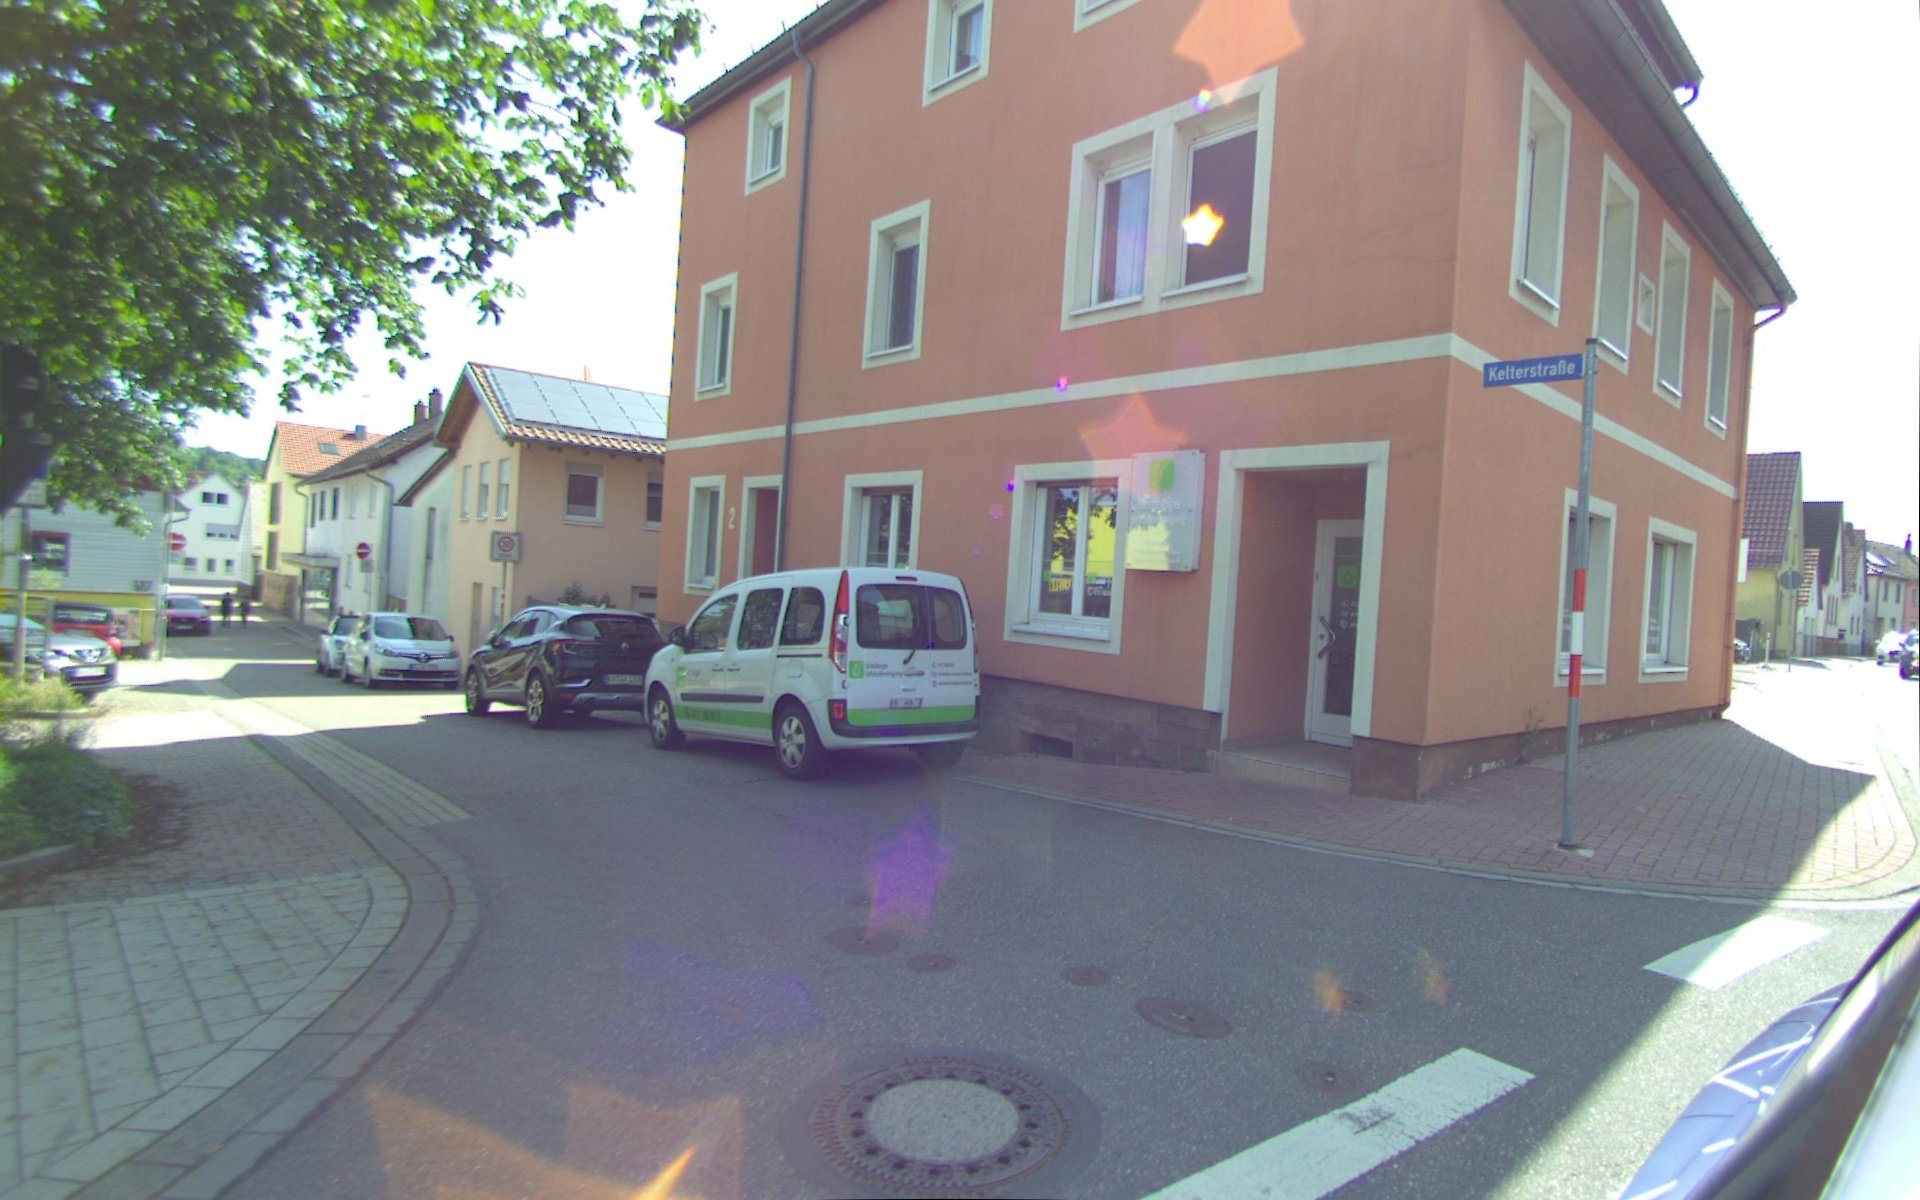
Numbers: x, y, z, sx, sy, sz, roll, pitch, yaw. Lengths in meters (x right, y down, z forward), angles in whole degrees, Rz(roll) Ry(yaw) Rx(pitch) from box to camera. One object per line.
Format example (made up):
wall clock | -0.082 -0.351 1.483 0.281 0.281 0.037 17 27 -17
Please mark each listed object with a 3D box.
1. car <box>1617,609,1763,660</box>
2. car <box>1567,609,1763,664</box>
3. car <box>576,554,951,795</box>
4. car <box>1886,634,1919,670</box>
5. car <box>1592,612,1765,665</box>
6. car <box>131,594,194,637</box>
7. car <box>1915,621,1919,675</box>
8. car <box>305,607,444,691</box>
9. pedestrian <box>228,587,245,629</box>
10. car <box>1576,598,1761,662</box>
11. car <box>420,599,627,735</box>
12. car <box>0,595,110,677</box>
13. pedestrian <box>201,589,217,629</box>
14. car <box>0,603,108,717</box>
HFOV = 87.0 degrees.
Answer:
car | 28.337 1.278 39.370 1.707 1.767 4.335 -1 1 -40
car | 21.198 1.058 30.567 1.933 1.283 4.543 2 1 -44
car | -2.061 0.607 9.625 1.780 1.776 4.094 1 -2 -39
car | 47.023 2.575 49.988 1.775 1.561 4.036 2 1 42
car | 25.071 1.301 35.420 1.879 1.516 4.640 3 1 -44
car | -32.133 0.602 40.737 1.823 1.614 4.030 1 -1 -40
car | 32.945 1.616 33.512 1.787 1.673 4.325 3 2 42
car | -12.612 0.963 21.697 1.905 1.614 4.030 1 -1 -40
pedestrian | -32.502 0.346 45.471 0.583 1.864 0.686 1 -1 -35
car | 22.816 0.908 32.725 1.933 1.833 4.639 1 1 -44
car | -5.855 0.825 13.386 1.549 1.545 3.495 1 -2 -41
car | -22.752 0.817 25.271 4.025 1.720 1.927 3 2 44
pedestrian | -33.514 0.412 45.180 0.535 1.774 0.589 1 -1 -35
car | -15.167 0.837 15.220 3.598 1.593 1.638 1 -1 10
